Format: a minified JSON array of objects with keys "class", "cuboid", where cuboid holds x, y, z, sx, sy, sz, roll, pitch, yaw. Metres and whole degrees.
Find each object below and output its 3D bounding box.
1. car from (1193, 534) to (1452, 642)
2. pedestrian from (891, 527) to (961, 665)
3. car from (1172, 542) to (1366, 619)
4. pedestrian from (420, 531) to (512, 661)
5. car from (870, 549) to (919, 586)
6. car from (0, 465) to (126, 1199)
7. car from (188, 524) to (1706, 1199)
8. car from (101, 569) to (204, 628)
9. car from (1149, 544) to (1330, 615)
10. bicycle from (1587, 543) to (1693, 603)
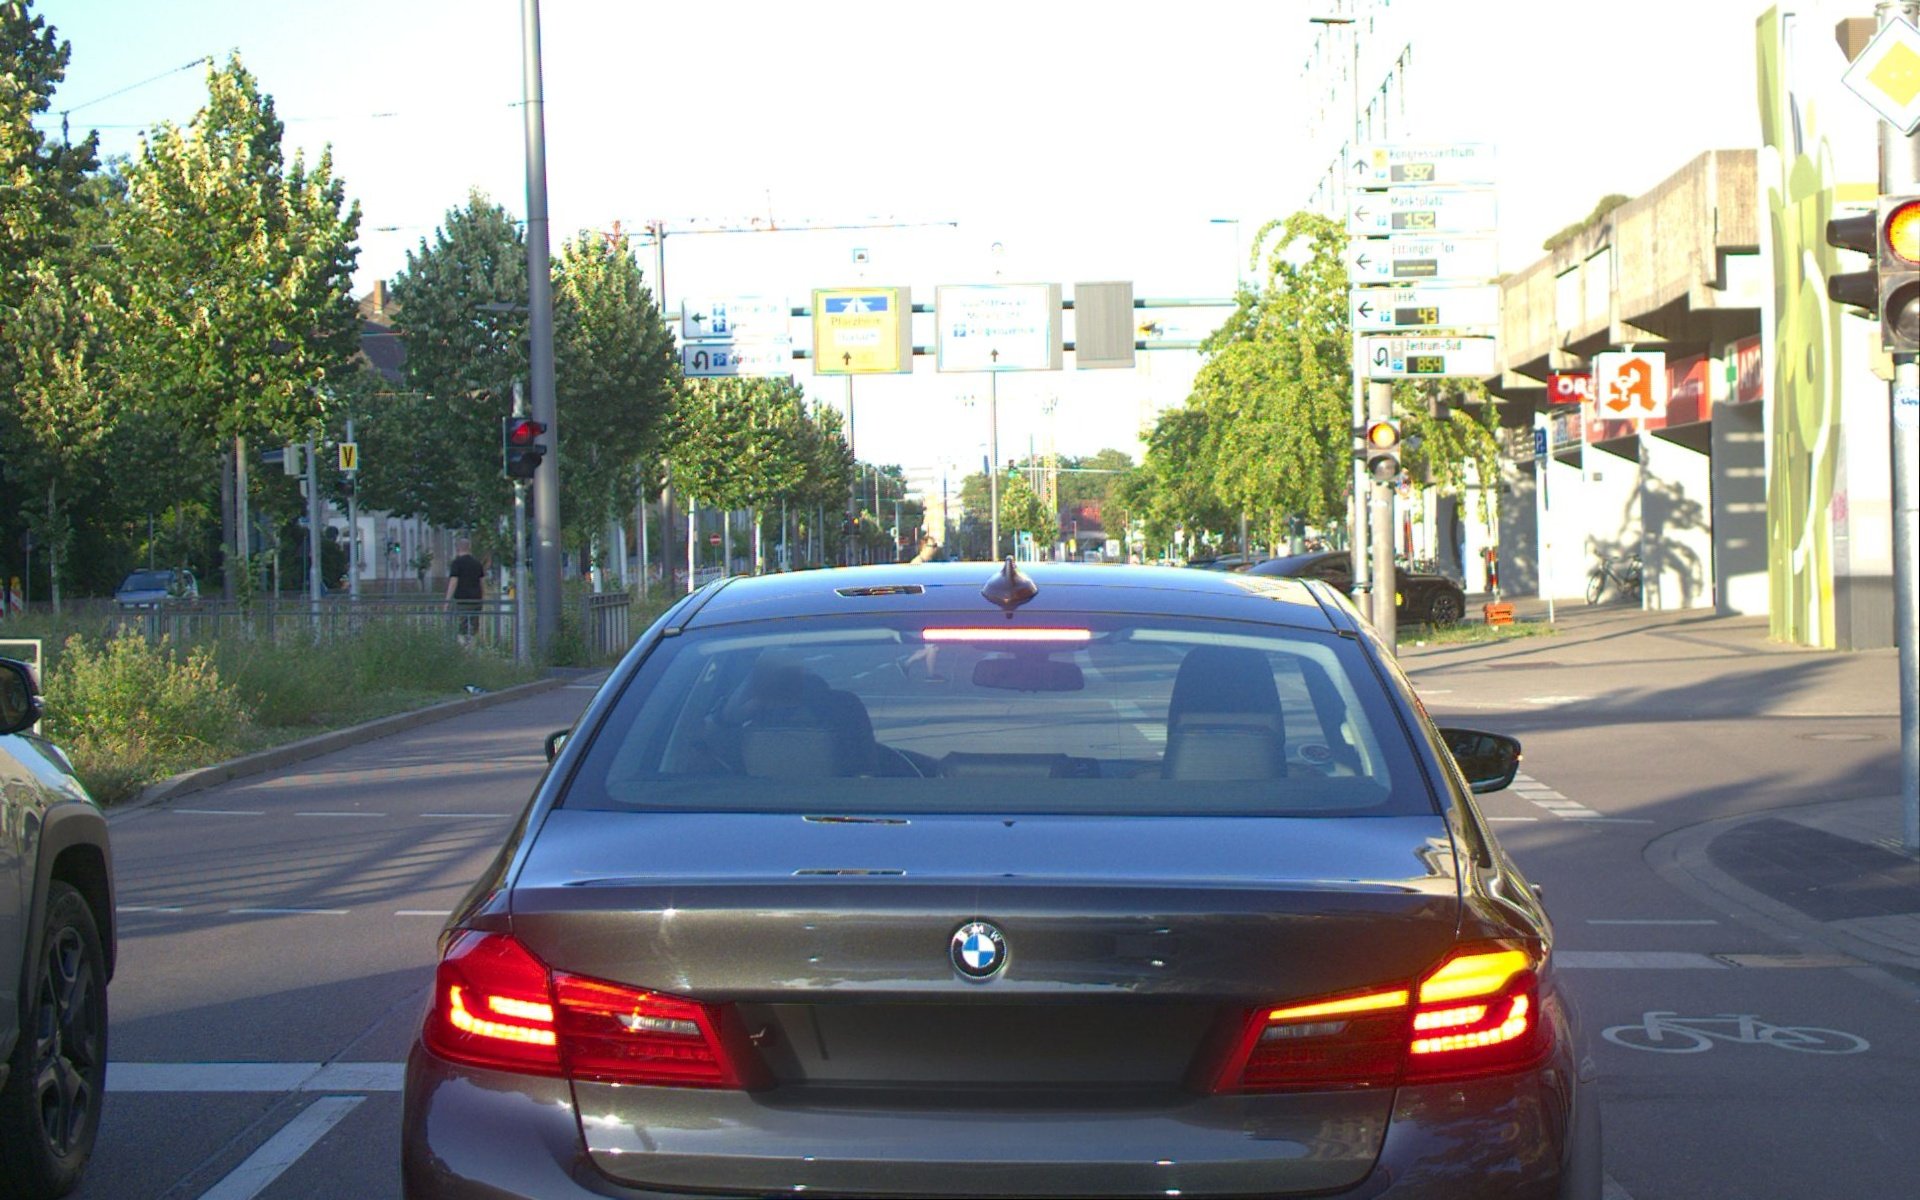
[{"class":"car","cuboid":[5.989,-0.233,56.488,4.256,1.653,1.860,-2,3,-42]},{"class":"pedestrian","cuboid":[-0.424,-0.056,43.216,0.835,1.706,0.648,-1,1,-1]},{"class":"car","cuboid":[7.128,-0.470,79.070,4.255,1.653,1.860,-1,2,-35]},{"class":"pedestrian","cuboid":[-6.161,-0.052,42.836,0.809,1.581,0.837,-2,1,-34]},{"class":"car","cuboid":[-2.785,-1.409,146.947,1.979,1.428,4.843,0,2,0]},{"class":"car","cuboid":[-2.885,0.575,6.229,1.854,1.653,4.269,0,2,-2]},{"class":"car","cuboid":[0.055,0.621,6.652,1.932,1.476,4.522,0,2,2]},{"class":"car","cuboid":[-21.605,-0.058,92.091,1.800,1.476,3.783,-1,1,1]},{"class":"car","cuboid":[6.936,-0.527,85.152,4.255,1.653,1.860,-1,2,-35]},{"class":"bicycle","cuboid":[13.634,-0.537,68.964,2.017,1.145,0.690,2,0,7]}]
